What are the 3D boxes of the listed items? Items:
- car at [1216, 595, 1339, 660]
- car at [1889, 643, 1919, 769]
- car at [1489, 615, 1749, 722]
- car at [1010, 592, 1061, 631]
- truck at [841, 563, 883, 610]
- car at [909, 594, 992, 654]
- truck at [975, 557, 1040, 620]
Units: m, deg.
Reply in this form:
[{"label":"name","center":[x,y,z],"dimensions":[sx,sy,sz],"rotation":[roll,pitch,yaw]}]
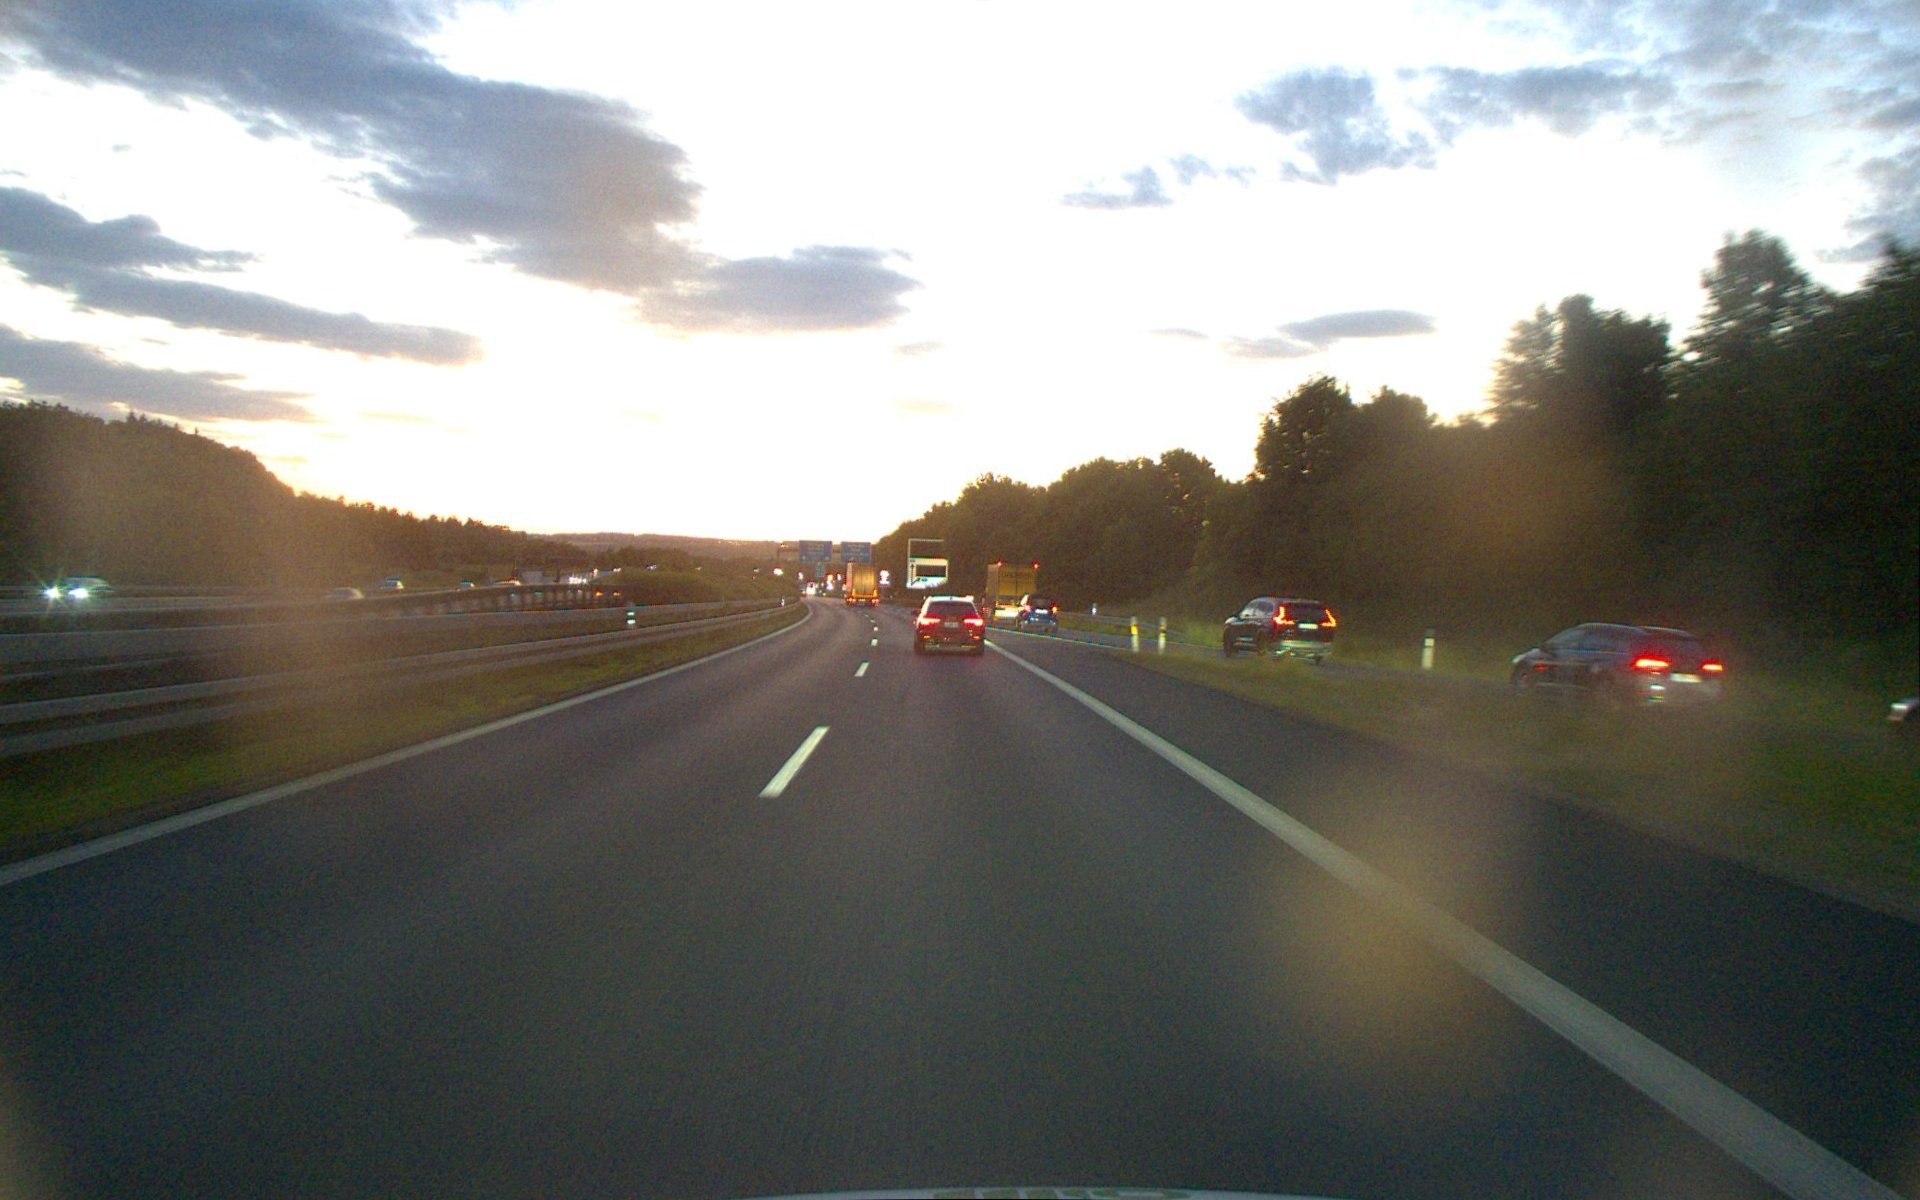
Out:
[{"label":"car","center":[8.527,0.693,44.870],"dimensions":[1.764,1.674,5.152],"rotation":[0,0,-7]},{"label":"car","center":[12.837,1.367,18.572],"dimensions":[1.765,1.517,4.426],"rotation":[4,0,-9]},{"label":"car","center":[11.245,1.105,28.703],"dimensions":[1.765,1.517,5.106],"rotation":[4,0,-9]},{"label":"car","center":[3.229,0.490,71.143],"dimensions":[1.580,1.583,3.312],"rotation":[1,0,-8]},{"label":"truck","center":[-9.702,-1.261,163.172],"dimensions":[3.443,4.376,9.875],"rotation":[1,0,-7]},{"label":"car","center":[-0.300,0.616,43.284],"dimensions":[1.877,1.467,3.996],"rotation":[1,0,-4]},{"label":"truck","center":[2.422,-0.620,86.124],"dimensions":[2.226,3.023,6.621],"rotation":[3,0,-7]}]
